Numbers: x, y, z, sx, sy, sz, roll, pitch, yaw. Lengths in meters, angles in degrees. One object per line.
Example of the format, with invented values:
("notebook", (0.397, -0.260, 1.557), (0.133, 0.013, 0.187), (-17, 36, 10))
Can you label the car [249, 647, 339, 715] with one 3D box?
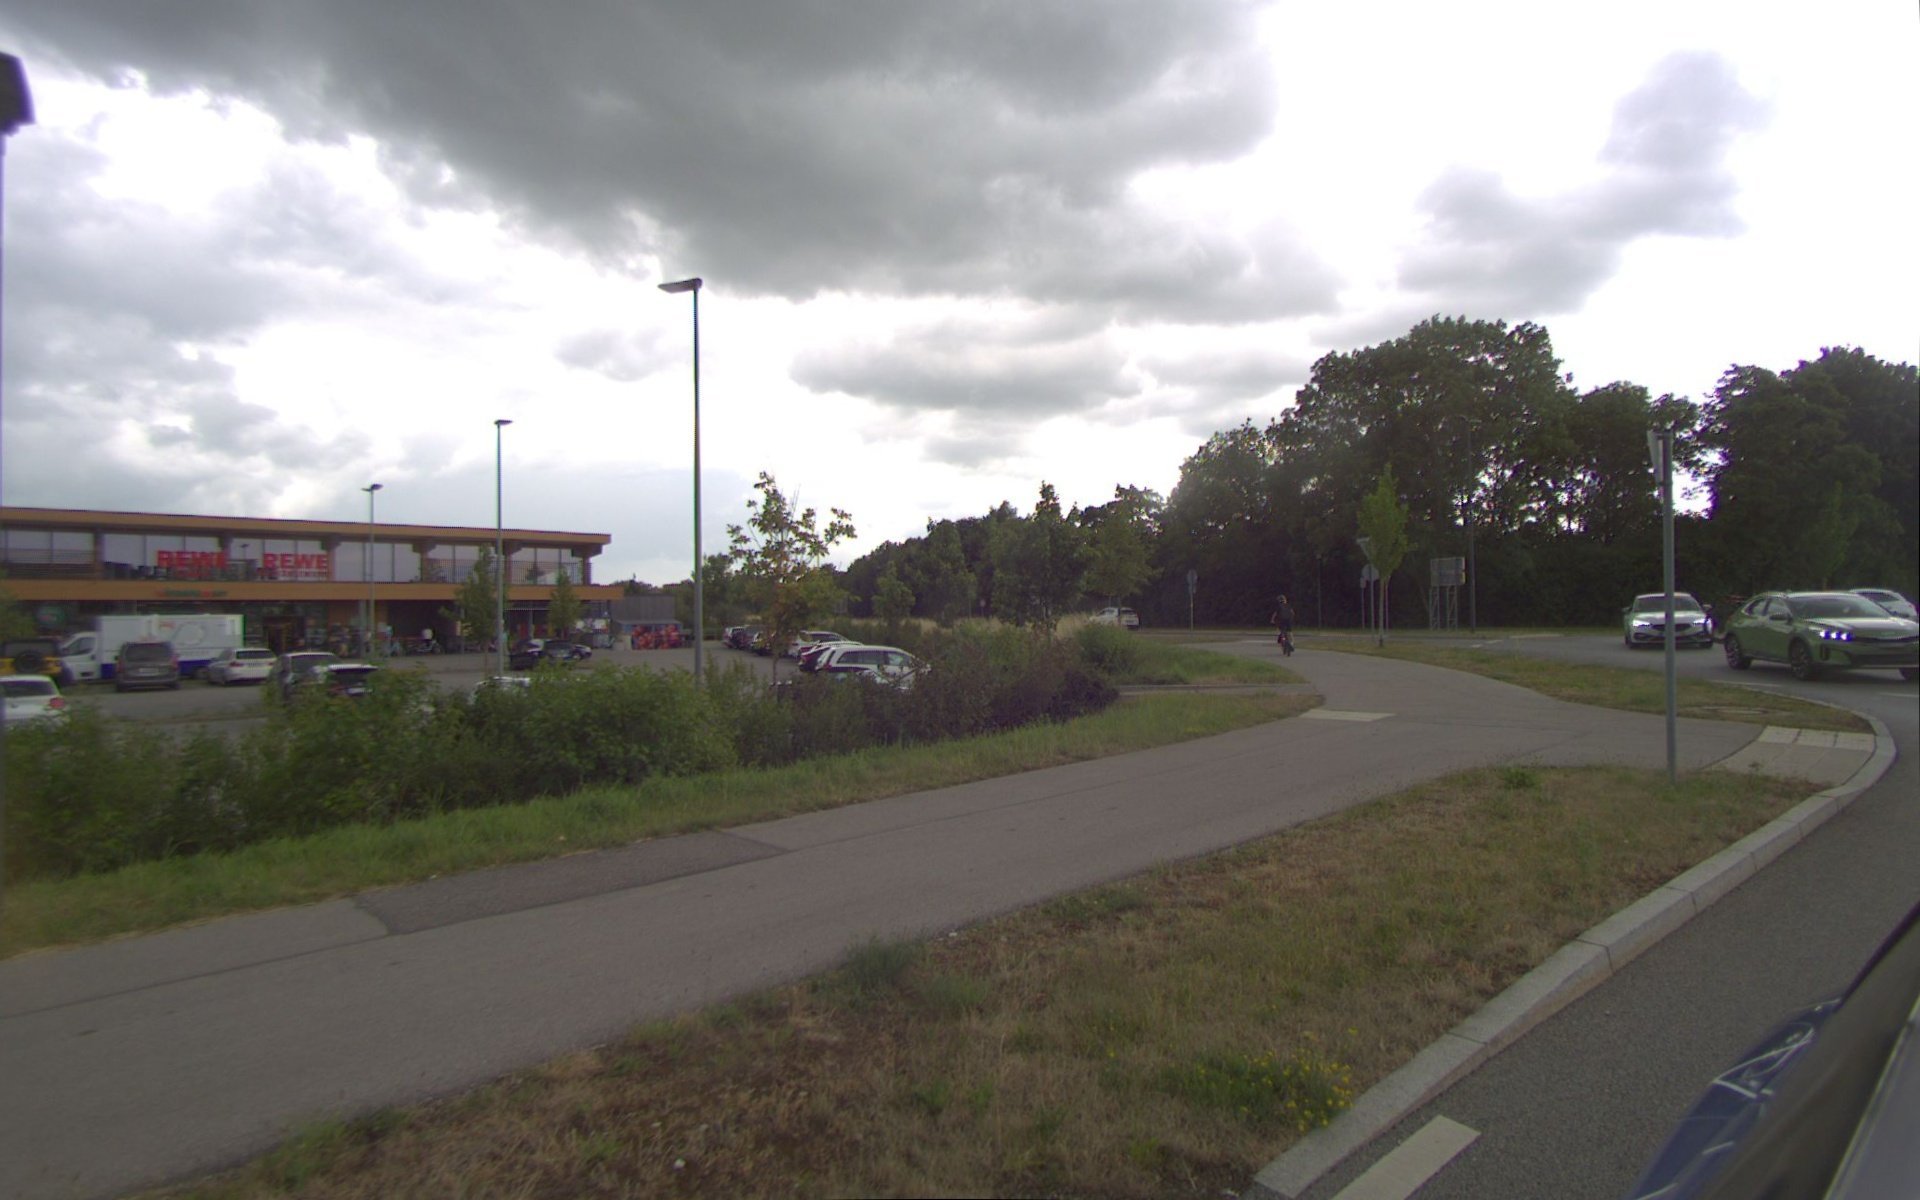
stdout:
("car", (-19.037, 2.234, 28.843), (1.963, 1.504, 4.131), (0, 1, -36))

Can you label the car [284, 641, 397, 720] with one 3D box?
("car", (-15.214, 1.929, 24.792), (1.771, 1.728, 3.384), (0, -2, -42))

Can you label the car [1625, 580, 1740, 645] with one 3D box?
("car", (19.208, 0.293, 26.840), (1.865, 1.561, 4.133), (-1, 0, 44))

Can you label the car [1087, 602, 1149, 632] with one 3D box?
("car", (10.166, 1.080, 65.406), (1.959, 1.794, 4.080), (0, 1, -27))

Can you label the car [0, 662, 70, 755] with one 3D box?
("car", (-19.875, 2.224, 21.271), (1.723, 1.552, 3.554), (0, 1, -42))

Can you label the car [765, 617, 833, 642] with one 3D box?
("car", (-9.746, 1.757, 61.149), (3.916, 1.377, 1.705), (0, 1, -14))

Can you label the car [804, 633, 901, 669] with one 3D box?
("car", (-4.621, 2.172, 43.358), (3.916, 1.377, 1.705), (0, 1, -14))

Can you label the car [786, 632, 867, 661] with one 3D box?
("car", (-6.856, 2.365, 51.845), (3.916, 1.377, 1.705), (0, 1, -14))

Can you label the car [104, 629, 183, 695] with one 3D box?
("car", (-29.703, 2.185, 36.916), (2.032, 2.039, 3.999), (0, 1, -36))

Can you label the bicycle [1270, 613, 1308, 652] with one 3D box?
("bicycle", (8.672, 0.847, 26.743), (0.557, 0.974, 1.301), (0, 1, -1))

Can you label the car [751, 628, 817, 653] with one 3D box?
("car", (-10.953, 2.497, 62.836), (3.916, 1.377, 1.705), (0, 1, -14))

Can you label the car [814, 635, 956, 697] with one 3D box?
("car", (-2.342, 2.003, 31.249), (4.154, 1.738, 1.705), (0, 1, -14))

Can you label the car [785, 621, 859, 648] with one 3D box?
("car", (-7.597, 1.872, 55.604), (3.916, 1.377, 1.705), (0, 1, -14))

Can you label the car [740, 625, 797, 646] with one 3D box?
("car", (-13.680, 2.550, 72.242), (3.916, 1.377, 1.705), (0, 1, -14))

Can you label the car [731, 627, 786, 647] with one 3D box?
("car", (-14.924, 2.713, 74.854), (3.916, 1.377, 1.705), (0, 1, -14))

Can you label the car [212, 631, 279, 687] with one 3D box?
("car", (-27.886, 2.237, 39.477), (2.032, 1.871, 3.999), (0, 1, -36))

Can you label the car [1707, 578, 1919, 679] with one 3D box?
("car", (15.868, 0.434, 18.609), (1.846, 1.608, 5.034), (-1, 0, 18))

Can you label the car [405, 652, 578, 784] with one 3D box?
("car", (-8.198, 1.913, 17.545), (1.629, 1.727, 3.993), (0, 1, -42))

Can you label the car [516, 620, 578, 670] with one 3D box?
("car", (-19.212, 2.018, 46.984), (1.961, 2.039, 4.002), (0, 1, -33))

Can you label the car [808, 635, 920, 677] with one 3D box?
("car", (-3.590, 2.062, 37.578), (3.916, 1.377, 1.848), (0, 1, -14))

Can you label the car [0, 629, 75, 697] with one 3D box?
("car", (-32.482, 2.146, 35.403), (1.963, 2.039, 3.999), (0, 1, -36))

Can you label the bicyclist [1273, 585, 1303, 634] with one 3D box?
("bicyclist", (8.668, 0.246, 26.736), (0.545, 1.259, 0.659), (0, 0, -1))

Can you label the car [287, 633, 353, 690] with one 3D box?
("car", (-25.465, 2.359, 40.202), (1.963, 1.894, 4.273), (0, 1, -36))

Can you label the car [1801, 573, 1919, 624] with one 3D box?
("car", (32.196, -0.070, 35.470), (3.918, 1.705, 2.003), (0, 1, -7))

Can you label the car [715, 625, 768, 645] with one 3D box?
("car", (-16.873, 2.696, 78.083), (3.916, 1.377, 1.705), (0, 1, -14))
